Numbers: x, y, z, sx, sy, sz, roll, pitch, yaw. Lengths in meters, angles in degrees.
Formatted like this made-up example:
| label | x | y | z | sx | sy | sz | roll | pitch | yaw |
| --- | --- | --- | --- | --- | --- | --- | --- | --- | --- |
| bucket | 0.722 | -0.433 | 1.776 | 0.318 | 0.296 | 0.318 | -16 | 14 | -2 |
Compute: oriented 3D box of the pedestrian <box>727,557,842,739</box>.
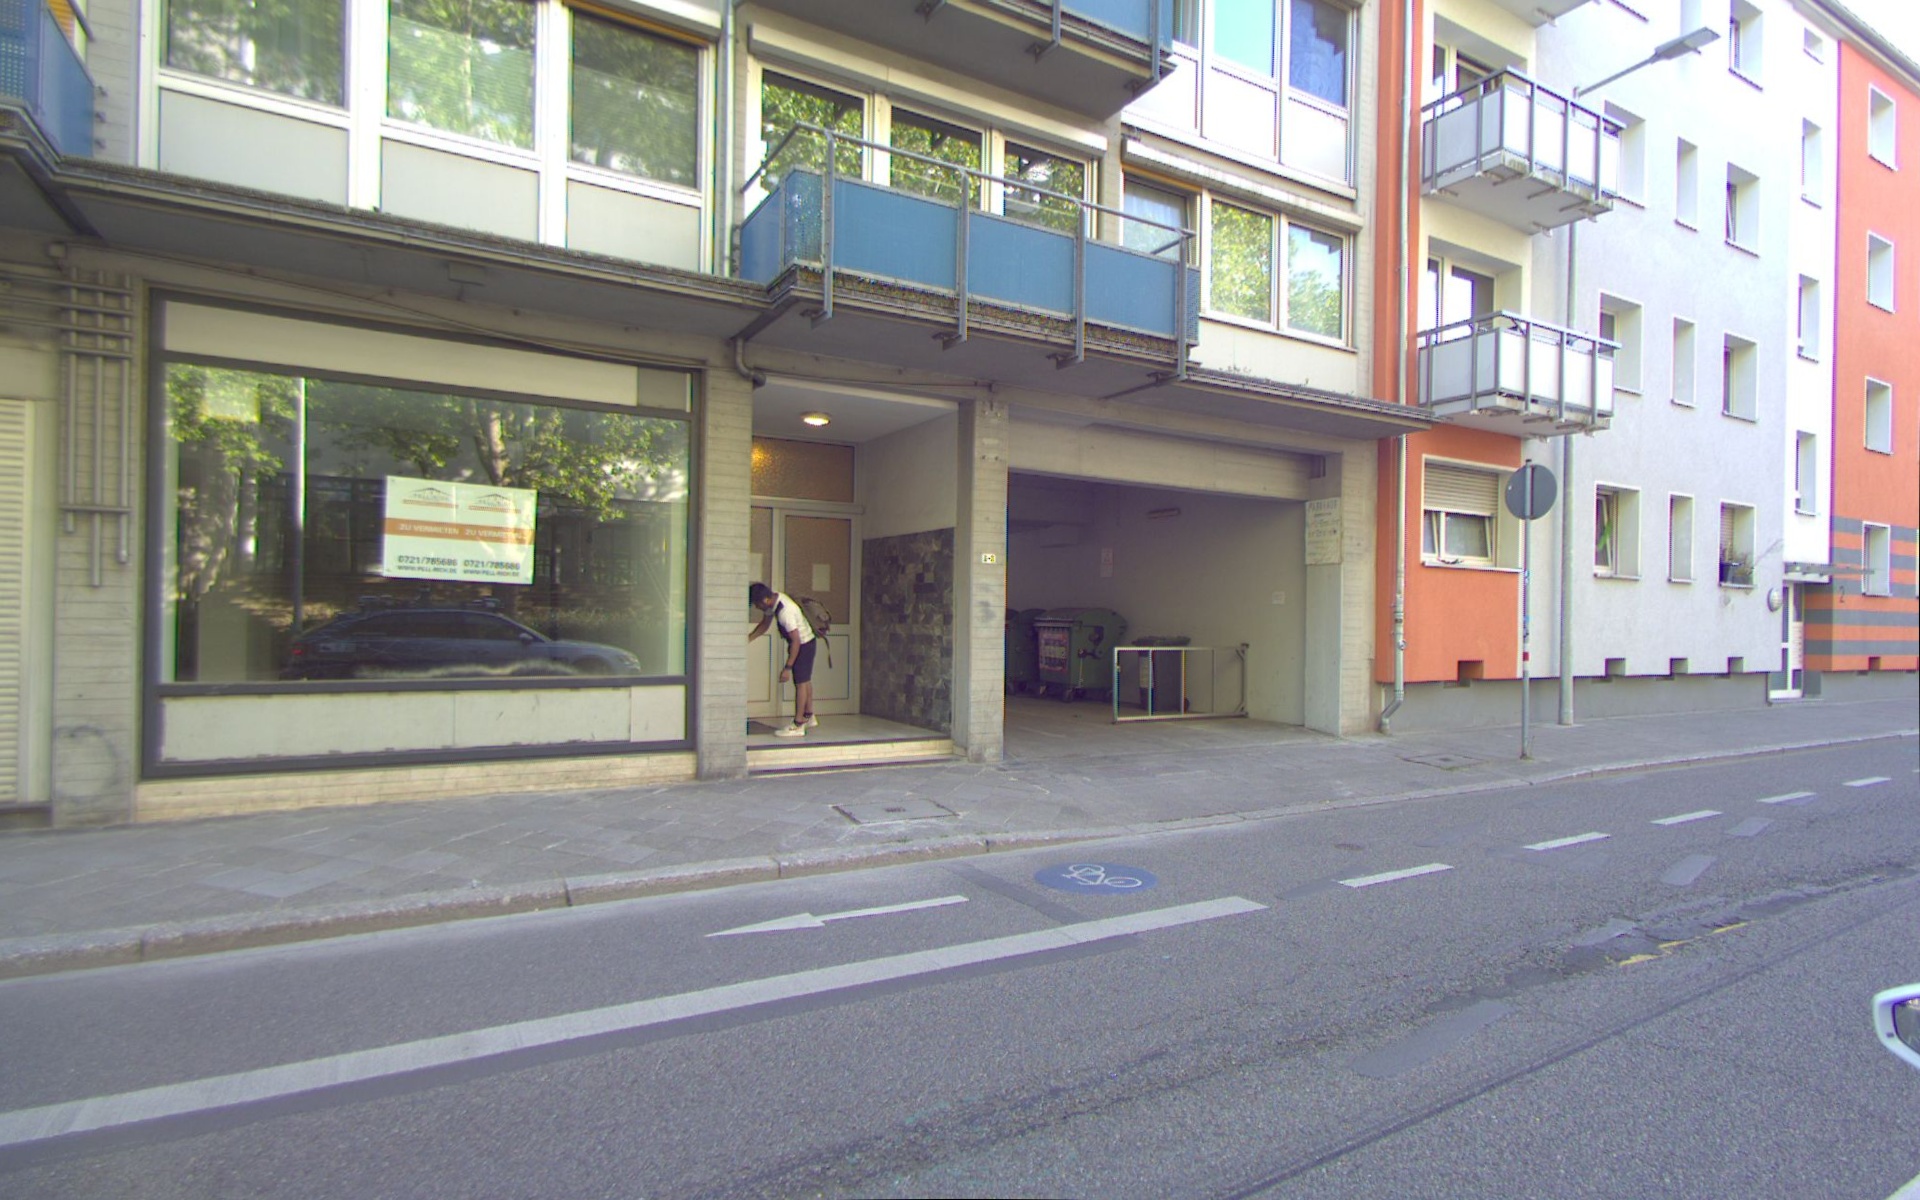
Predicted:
| label | x | y | z | sx | sy | sz | roll | pitch | yaw |
| --- | --- | --- | --- | --- | --- | --- | --- | --- | --- |
| pedestrian | -1.635 | 0.435 | 9.348 | 0.914 | 1.606 | 0.561 | 1 | 0 | -29 |

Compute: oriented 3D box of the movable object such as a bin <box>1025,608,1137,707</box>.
| label | x | y | z | sx | sy | sz | roll | pitch | yaw |
| --- | --- | --- | --- | --- | --- | --- | --- | --- | --- |
| movable object such as a bin | 1.895 | 0.873 | 15.811 | 1.182 | 1.452 | 1.300 | 2 | 0 | -30 |

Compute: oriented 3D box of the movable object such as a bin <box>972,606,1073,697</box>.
| label | x | y | z | sx | sy | sz | roll | pitch | yaw |
| --- | --- | --- | --- | --- | --- | --- | --- | --- | --- |
| movable object such as a bin | 1.054 | 0.855 | 17.198 | 1.182 | 1.452 | 1.300 | 2 | 0 | -30 |

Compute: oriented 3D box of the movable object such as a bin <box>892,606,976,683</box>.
| label | x | y | z | sx | sy | sz | roll | pitch | yaw |
| --- | --- | --- | --- | --- | --- | --- | --- | --- | --- |
| movable object such as a bin | -0.526 | 0.866 | 19.937 | 1.182 | 1.452 | 1.300 | 2 | 0 | -30 |

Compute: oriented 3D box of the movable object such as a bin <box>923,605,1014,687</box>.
| label | x | y | z | sx | sy | sz | roll | pitch | yaw |
| --- | --- | --- | --- | --- | --- | --- | --- | --- | --- |
| movable object such as a bin | 0.142 | 0.835 | 18.773 | 1.182 | 1.452 | 1.300 | 2 | 0 | -30 |

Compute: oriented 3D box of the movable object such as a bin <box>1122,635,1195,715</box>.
| label | x | y | z | sx | sy | sz | roll | pitch | yaw |
| --- | --- | --- | --- | --- | --- | --- | --- | --- | --- |
| movable object such as a bin | 2.872 | 1.066 | 14.529 | 0.707 | 1.089 | 0.735 | 2 | 0 | -30 |
